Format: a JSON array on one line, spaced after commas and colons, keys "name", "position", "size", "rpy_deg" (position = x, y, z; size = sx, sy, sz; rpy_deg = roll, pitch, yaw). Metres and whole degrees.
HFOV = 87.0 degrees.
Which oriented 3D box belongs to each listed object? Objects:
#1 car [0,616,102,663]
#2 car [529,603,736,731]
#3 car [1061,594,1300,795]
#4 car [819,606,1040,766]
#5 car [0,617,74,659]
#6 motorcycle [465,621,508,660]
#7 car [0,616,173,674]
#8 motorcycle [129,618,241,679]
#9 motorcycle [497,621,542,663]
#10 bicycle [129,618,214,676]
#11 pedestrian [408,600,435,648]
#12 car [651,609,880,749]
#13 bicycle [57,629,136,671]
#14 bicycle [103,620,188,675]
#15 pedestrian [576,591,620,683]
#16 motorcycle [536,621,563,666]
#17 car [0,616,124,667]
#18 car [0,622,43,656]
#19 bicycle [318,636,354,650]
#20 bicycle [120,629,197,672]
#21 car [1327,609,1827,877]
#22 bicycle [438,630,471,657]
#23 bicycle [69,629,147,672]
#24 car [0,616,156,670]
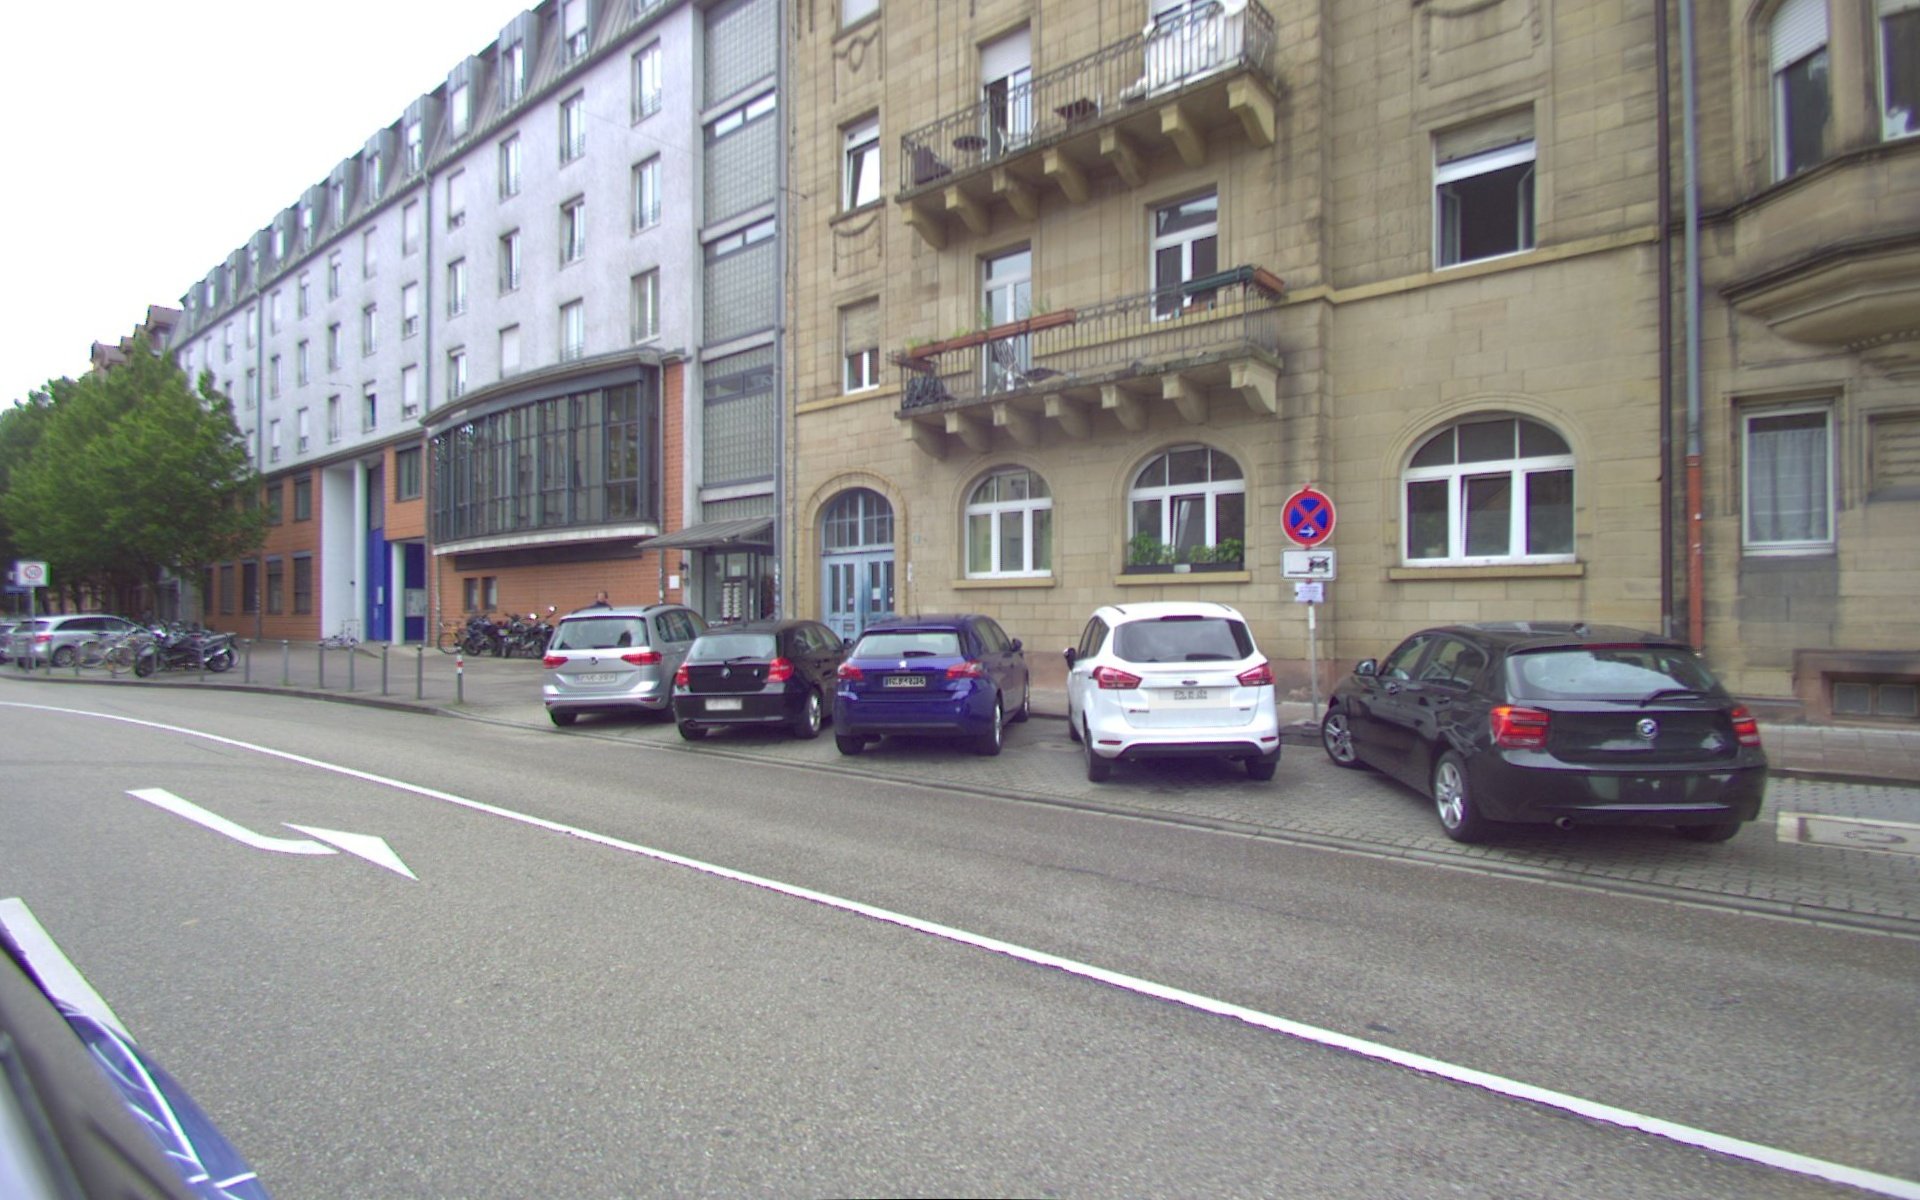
[{"name": "car", "position": [-33.667, 1.389, 36.279], "size": [1.983, 1.641, 3.976], "rpy_deg": [0, -1, 18]}, {"name": "car", "position": [-4.749, 0.892, 15.295], "size": [1.710, 1.565, 3.998], "rpy_deg": [-2, 1, 2]}, {"name": "car", "position": [1.995, 0.770, 10.272], "size": [1.681, 1.565, 3.997], "rpy_deg": [-2, 1, 3]}, {"name": "car", "position": [-0.176, 0.873, 11.825], "size": [1.804, 1.456, 3.737], "rpy_deg": [-2, 1, 11]}, {"name": "car", "position": [-38.138, 1.481, 40.194], "size": [1.983, 1.641, 3.976], "rpy_deg": [0, -1, 18]}, {"name": "motorcycle", "position": [-13.508, 1.140, 28.840], "size": [1.762, 1.106, 0.440], "rpy_deg": [-1, -2, 42]}, {"name": "car", "position": [-26.808, 1.319, 31.006], "size": [1.758, 1.641, 3.976], "rpy_deg": [0, -1, 18]}, {"name": "motorcycle", "position": [-18.995, 1.162, 24.846], "size": [0.599, 1.363, 2.096], "rpy_deg": [-1, 0, 41]}, {"name": "motorcycle", "position": [-11.987, 1.133, 27.531], "size": [1.762, 1.106, 0.440], "rpy_deg": [-1, -2, 42]}, {"name": "bicycle", "position": [-19.834, 1.157, 25.481], "size": [0.416, 1.363, 1.609], "rpy_deg": [-1, 0, 39]}, {"name": "pedestrian", "position": [-19.051, 0.837, 35.781], "size": [0.622, 1.662, 0.677], "rpy_deg": [0, -1, 43]}, {"name": "car", "position": [-2.368, 0.916, 13.391], "size": [1.713, 1.449, 3.989], "rpy_deg": [-2, 1, 9]}, {"name": "bicycle", "position": [-24.116, 1.386, 28.288], "size": [0.416, 1.082, 1.609], "rpy_deg": [-1, 0, 39]}, {"name": "bicycle", "position": [-20.674, 1.189, 25.718], "size": [0.416, 1.299, 1.609], "rpy_deg": [-1, 0, 39]}, {"name": "pedestrian", "position": [-7.428, 0.750, 20.779], "size": [0.642, 1.837, 0.613], "rpy_deg": [-1, -2, 41]}, {"name": "motorcycle", "position": [-10.476, 1.092, 25.793], "size": [0.438, 1.106, 1.768], "rpy_deg": [1, -1, -29]}, {"name": "car", "position": [-31.452, 1.370, 34.613], "size": [1.983, 1.641, 3.976], "rpy_deg": [0, -1, 18]}, {"name": "car", "position": [-43.197, 1.727, 44.476], "size": [1.724, 1.508, 3.976], "rpy_deg": [0, -1, 18]}, {"name": "bicycle", "position": [-22.165, 1.523, 35.967], "size": [0.527, 0.440, 0.997], "rpy_deg": [1, 0, 42]}, {"name": "bicycle", "position": [-22.183, 1.381, 28.034], "size": [0.416, 1.082, 1.609], "rpy_deg": [-1, 0, 39]}, {"name": "car", "position": [4.198, 0.820, 7.722], "size": [1.641, 1.428, 3.994], "rpy_deg": [0, 0, 5]}, {"name": "bicycle", "position": [-15.330, 1.308, 30.680], "size": [1.581, 0.793, 0.332], "rpy_deg": [-1, -2, 42]}, {"name": "bicycle", "position": [-23.558, 1.382, 28.007], "size": [0.416, 1.082, 1.609], "rpy_deg": [-1, 0, 39]}, {"name": "car", "position": [-28.812, 1.348, 32.753], "size": [1.983, 1.641, 3.976], "rpy_deg": [0, -1, 18]}]
